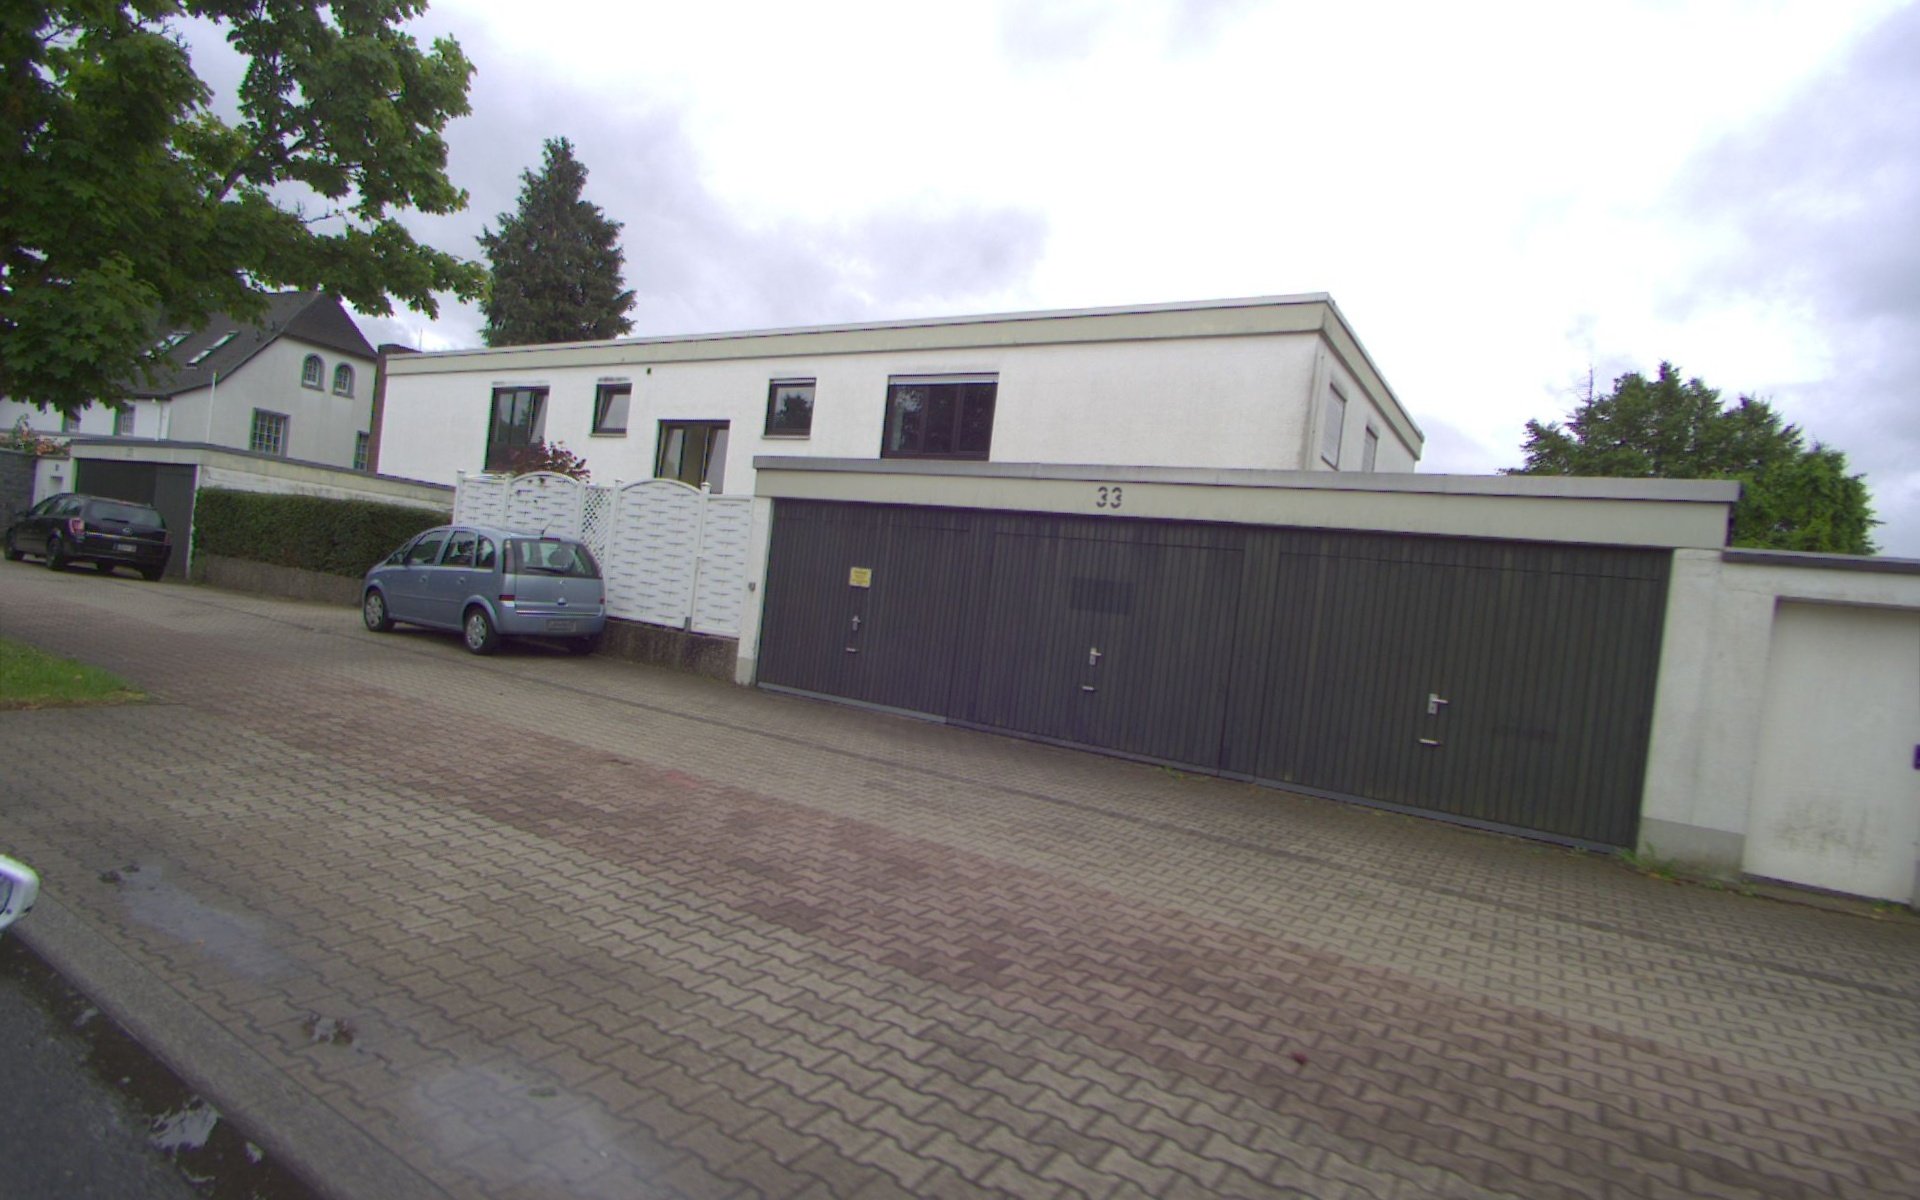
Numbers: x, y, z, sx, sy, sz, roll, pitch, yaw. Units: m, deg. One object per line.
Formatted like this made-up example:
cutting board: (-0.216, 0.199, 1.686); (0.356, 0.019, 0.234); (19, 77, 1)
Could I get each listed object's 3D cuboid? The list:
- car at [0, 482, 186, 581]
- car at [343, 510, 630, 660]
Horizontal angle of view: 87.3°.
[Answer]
car: (-17.447, -1.391, 20.081); (4.471, 1.517, 1.772); (6, 0, 34)
car: (-6.638, -0.240, 13.990); (3.936, 1.631, 1.744); (6, 0, 34)
